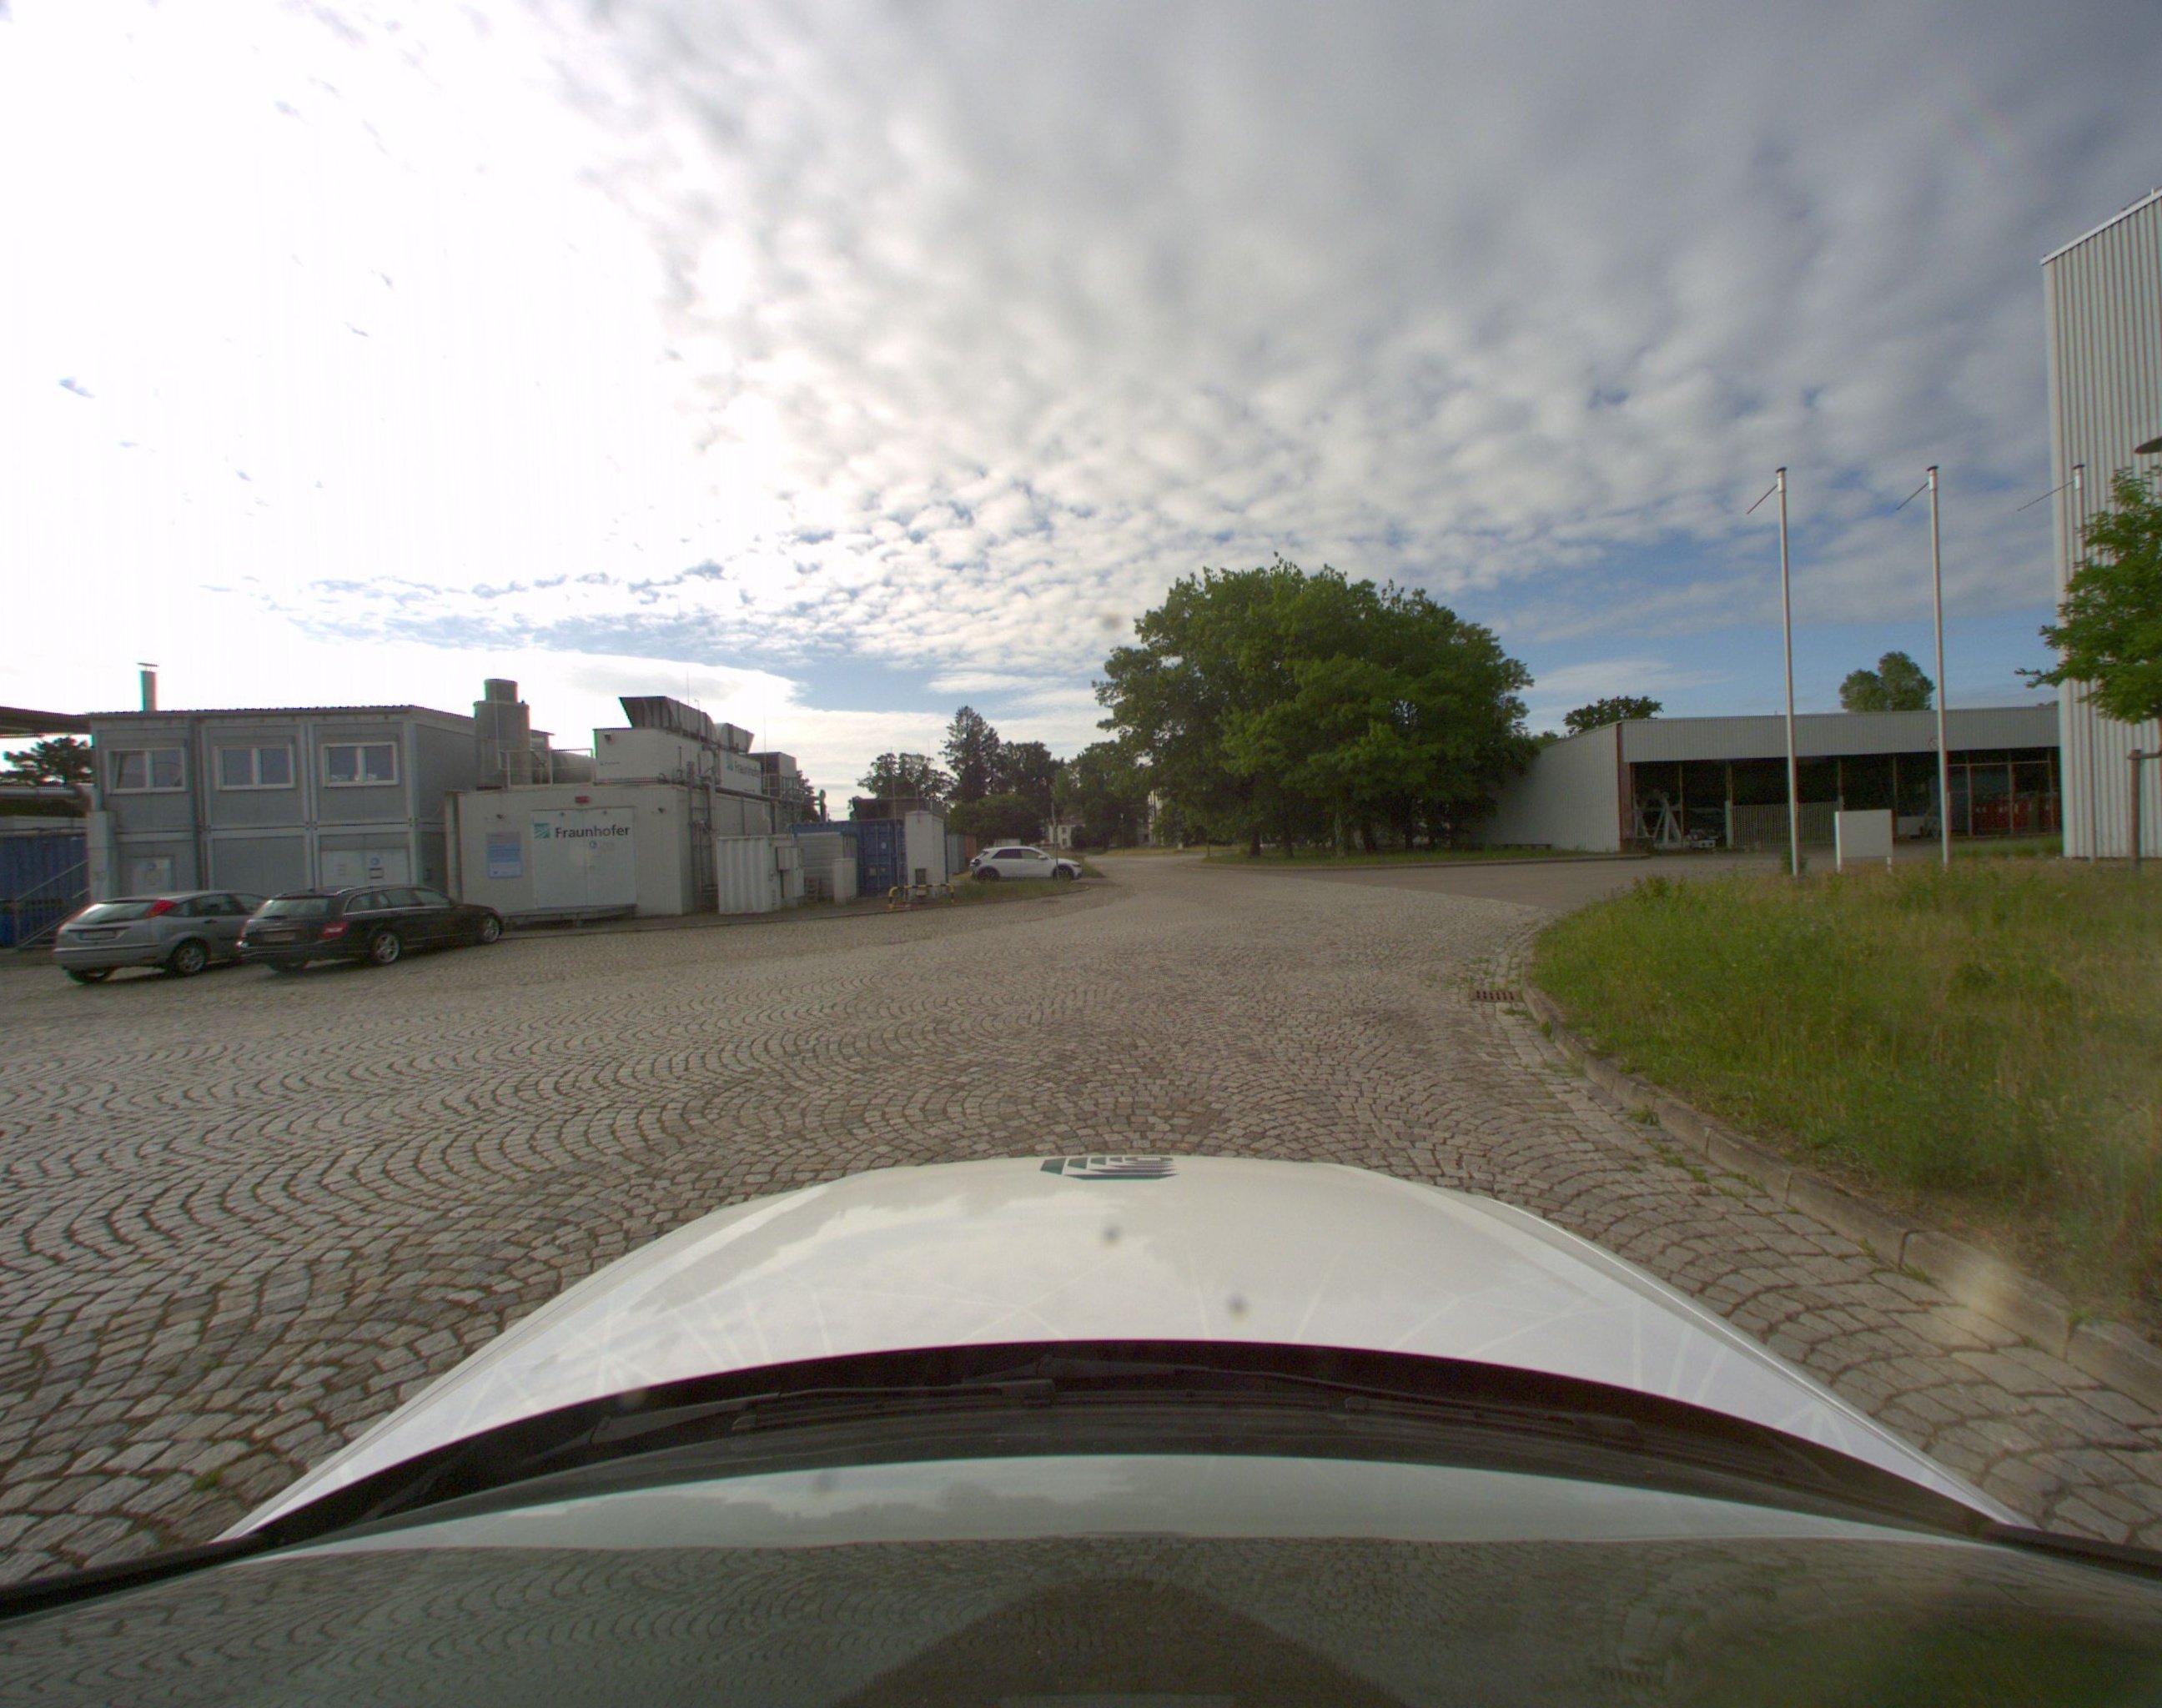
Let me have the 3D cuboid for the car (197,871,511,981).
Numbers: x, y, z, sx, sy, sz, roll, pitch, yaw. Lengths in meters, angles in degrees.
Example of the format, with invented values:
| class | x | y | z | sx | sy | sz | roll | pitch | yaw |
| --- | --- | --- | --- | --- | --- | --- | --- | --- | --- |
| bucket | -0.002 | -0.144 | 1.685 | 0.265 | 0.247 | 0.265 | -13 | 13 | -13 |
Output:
| class | x | y | z | sx | sy | sz | roll | pitch | yaw |
| --- | --- | --- | --- | --- | --- | --- | --- | --- | --- |
| car | -13.435 | 1.222 | 15.564 | 2.032 | 1.453 | 4.524 | -3 | 2 | -4 |

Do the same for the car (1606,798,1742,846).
| class | x | y | z | sx | sy | sz | roll | pitch | yaw |
| --- | --- | --- | --- | --- | --- | --- | --- | --- | --- |
| car | 27.890 | -1.436 | 38.602 | 2.238 | 2.013 | 5.327 | -3 | 0 | -5 |

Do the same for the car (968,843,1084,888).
| class | x | y | z | sx | sy | sz | roll | pitch | yaw |
| --- | --- | --- | --- | --- | --- | --- | --- | --- | --- |
| car | -2.207 | 0.454 | 33.500 | 4.522 | 1.599 | 1.999 | -3 | 0 | -2 |

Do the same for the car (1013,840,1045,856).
| class | x | y | z | sx | sy | sz | roll | pitch | yaw |
| --- | --- | --- | --- | --- | --- | --- | --- | --- | --- |
| car | -8.554 | -1.000 | 134.759 | 5.161 | 2.337 | 1.997 | -3 | 0 | -5 |

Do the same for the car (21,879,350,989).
| class | x | y | z | sx | sy | sz | roll | pitch | yaw |
| --- | --- | --- | --- | --- | --- | --- | --- | --- | --- |
| car | -16.612 | 1.379 | 15.498 | 1.904 | 1.475 | 4.039 | -3 | 2 | -6 |

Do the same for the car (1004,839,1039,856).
| class | x | y | z | sx | sy | sz | roll | pitch | yaw |
| --- | --- | --- | --- | --- | --- | --- | --- | --- | --- |
| car | -9.129 | -0.966 | 125.139 | 5.161 | 2.337 | 1.997 | -3 | 0 | -5 |
